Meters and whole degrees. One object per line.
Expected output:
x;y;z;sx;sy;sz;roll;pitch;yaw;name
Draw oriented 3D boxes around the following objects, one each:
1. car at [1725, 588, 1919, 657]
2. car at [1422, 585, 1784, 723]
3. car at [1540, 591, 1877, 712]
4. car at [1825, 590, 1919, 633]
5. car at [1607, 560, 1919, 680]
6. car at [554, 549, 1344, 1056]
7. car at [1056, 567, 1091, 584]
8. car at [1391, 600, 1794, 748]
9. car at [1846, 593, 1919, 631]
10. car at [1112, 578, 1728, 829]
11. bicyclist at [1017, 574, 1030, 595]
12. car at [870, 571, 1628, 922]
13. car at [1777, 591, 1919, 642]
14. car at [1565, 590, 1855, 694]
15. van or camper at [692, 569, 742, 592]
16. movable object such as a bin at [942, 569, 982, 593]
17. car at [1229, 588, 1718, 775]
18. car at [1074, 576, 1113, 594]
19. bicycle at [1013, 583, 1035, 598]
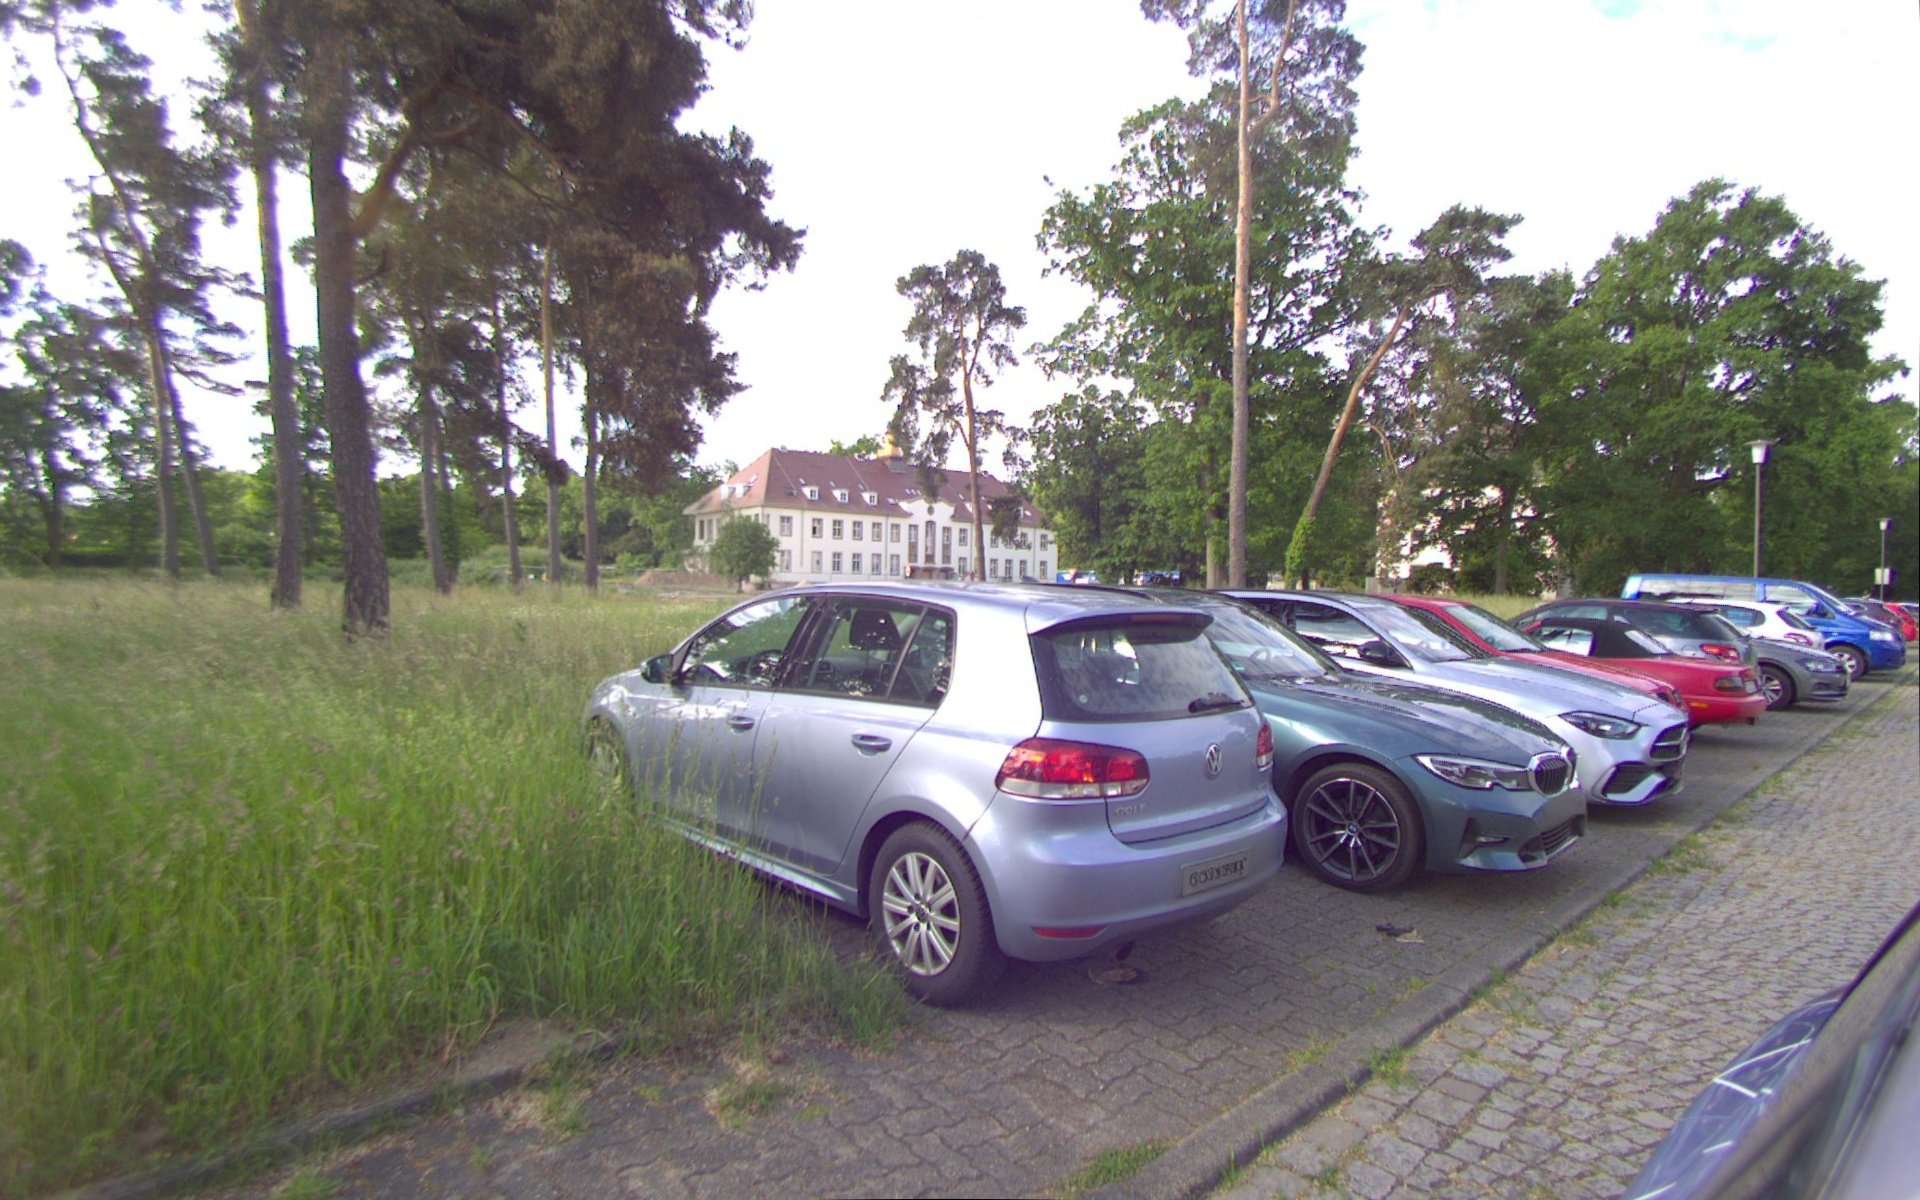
22.825;0.531;26.890;3.828;1.621;1.556;2;1;44;car
8.492;0.605;13.613;1.577;1.522;3.833;0;1;-43;car
11.001;0.657;15.080;1.614;1.484;3.779;0;1;-41;car
37.691;0.449;40.941;1.552;1.638;3.838;0;1;-38;car
16.654;0.296;21.050;2.025;2.047;4.951;0;3;-42;car
-0.362;0.542;4.909;1.615;1.489;3.845;0;1;-45;car
14.046;-3.013;124.957;3.927;2.039;2.219;0;1;-38;car
6.995;0.710;11.451;1.580;1.303;3.552;2;1;-41;car
41.232;0.513;43.994;1.643;1.548;3.838;0;1;-38;car
3.536;0.605;8.432;1.738;1.446;4.330;0;2;-44;car
5.299;-1.261;84.501;0.830;1.756;0.667;0;-1;-40;bicyclist
1.545;0.595;6.673;4.515;1.501;1.778;2;2;45;car
30.073;0.517;34.100;3.828;1.544;1.556;2;1;44;car
12.761;0.625;17.398;1.553;1.517;3.760;0;1;-41;car
-25.375;-2.015;105.495;6.057;2.251;1.971;2;1;41;van or camper
0.268;-2.295;124.034;1.992;2.802;5.125;2;1;42;movable object such as a bin
5.004;0.639;10.315;1.690;1.441;4.114;0;2;-42;car
13.999;-1.555;106.189;3.867;1.704;1.847;0;3;-40;car
5.320;-0.787;84.535;1.946;1.223;0.638;0;1;-40;bicycle
